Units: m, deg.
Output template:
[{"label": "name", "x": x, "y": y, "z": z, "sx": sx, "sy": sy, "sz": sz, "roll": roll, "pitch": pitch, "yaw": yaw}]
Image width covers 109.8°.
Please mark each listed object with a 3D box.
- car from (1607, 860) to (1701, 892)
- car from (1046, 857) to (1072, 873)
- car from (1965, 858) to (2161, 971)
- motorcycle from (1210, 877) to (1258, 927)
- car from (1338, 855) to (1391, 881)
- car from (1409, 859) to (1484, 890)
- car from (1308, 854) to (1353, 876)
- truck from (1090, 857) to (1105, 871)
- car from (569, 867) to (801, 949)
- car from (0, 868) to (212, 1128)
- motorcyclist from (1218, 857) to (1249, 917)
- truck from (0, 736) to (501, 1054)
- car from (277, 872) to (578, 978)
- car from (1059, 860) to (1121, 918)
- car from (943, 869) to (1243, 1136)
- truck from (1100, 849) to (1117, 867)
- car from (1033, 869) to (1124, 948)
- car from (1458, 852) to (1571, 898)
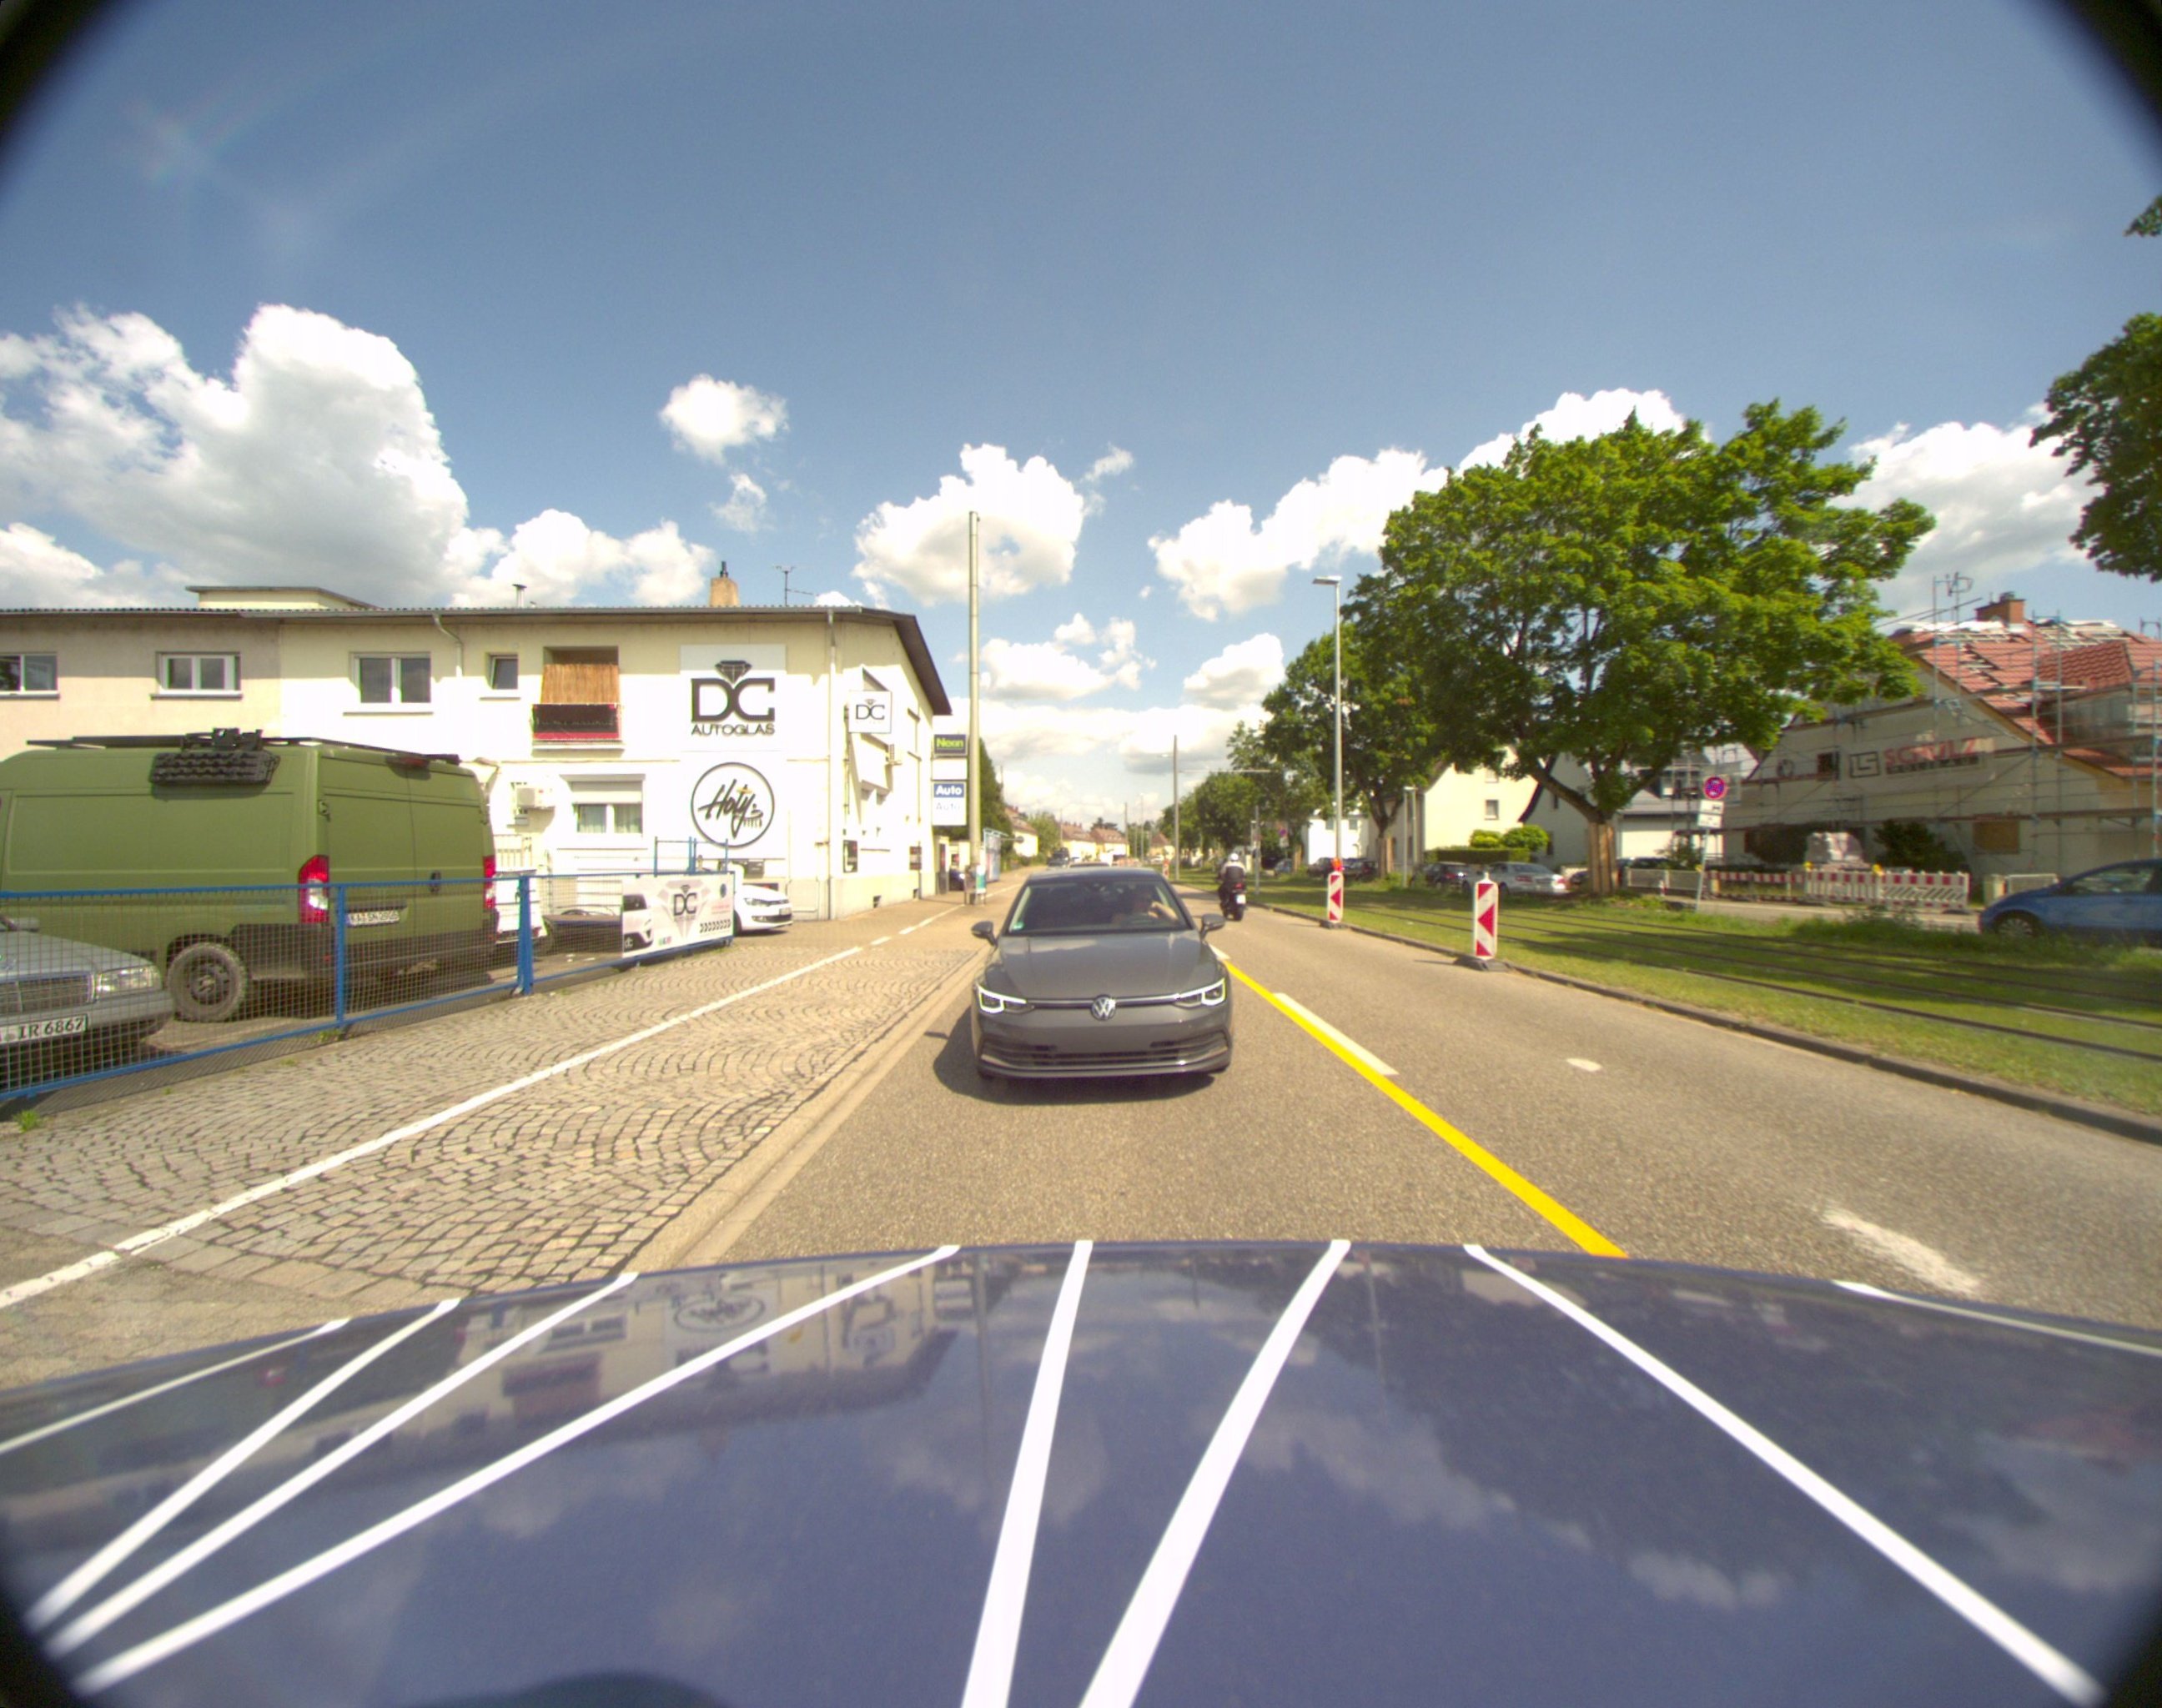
[{"label": "car", "x": 25.955, "y": 1.003, "z": 34.519, "sx": 3.238, "sy": 1.374, "sz": 1.490, "roll": -2, "pitch": 1, "yaw": 30}, {"label": "car", "x": -2.032, "y": 0.993, "z": 71.085, "sx": 1.823, "sy": 1.412, "sz": 4.002, "roll": 0, "pitch": 0, "yaw": 6}, {"label": "car", "x": 16.246, "y": 0.882, "z": 11.277, "sx": 1.672, "sy": 1.504, "sz": 3.930, "roll": -2, "pitch": 1, "yaw": 0}, {"label": "motorcycle", "x": 3.677, "y": 1.127, "z": 18.479, "sx": 0.707, "sy": 1.036, "sz": 2.465, "roll": 0, "pitch": 1, "yaw": 1}, {"label": "car", "x": 16.527, "y": 0.785, "z": 44.497, "sx": 1.636, "sy": 1.294, "sz": 3.999, "roll": -2, "pitch": 1, "yaw": 1}, {"label": "car", "x": 16.605, "y": 0.891, "z": 34.736, "sx": 1.625, "sy": 1.235, "sz": 3.786, "roll": -2, "pitch": 1, "yaw": 1}, {"label": "car", "x": 16.524, "y": 0.718, "z": 50.496, "sx": 1.636, "sy": 1.294, "sz": 3.999, "roll": -2, "pitch": 1, "yaw": 1}, {"label": "truck", "x": 3.828, "y": 2.250, "z": 175.013, "sx": 2.631, "sy": 2.871, "sz": 7.926, "roll": -2, "pitch": 1, "yaw": 5}, {"label": "car", "x": -7.643, "y": 1.030, "z": 14.859, "sx": 3.725, "sy": 1.350, "sz": 1.518, "roll": -2, "pitch": 1, "yaw": 4}, {"label": "car", "x": -8.496, "y": 0.941, "z": 4.829, "sx": 4.257, "sy": 1.499, "sz": 1.828, "roll": -2, "pitch": 1, "yaw": 8}, {"label": "motorcyclist", "x": 3.681, "y": 0.783, "z": 18.391, "sx": 0.651, "sy": 1.434, "sz": 0.588, "roll": 0, "pitch": 1, "yaw": 1}, {"label": "truck", "x": -8.771, "y": 0.384, "z": 7.623, "sx": 4.181, "sy": 2.645, "sz": 2.108, "roll": -2, "pitch": 1, "yaw": 2}, {"label": "car", "x": -8.886, "y": 0.936, "z": 10.478, "sx": 3.033, "sy": 1.267, "sz": 1.332, "roll": 1, "pitch": 1, "yaw": 2}, {"label": "car", "x": 0.252, "y": 0.942, "z": 22.059, "sx": 1.594, "sy": 1.418, "sz": 3.707, "roll": -2, "pitch": 1, "yaw": 1}, {"label": "car", "x": 0.120, "y": 0.935, "z": 6.713, "sx": 1.743, "sy": 1.410, "sz": 4.381, "roll": -2, "pitch": 1, "yaw": 1}, {"label": "truck", "x": 4.671, "y": 0.592, "z": 130.054, "sx": 2.665, "sy": 2.786, "sz": 7.539, "roll": -2, "pitch": 1, "yaw": 3}, {"label": "car", "x": 0.000, "y": 0.991, "z": 15.078, "sx": 1.555, "sy": 1.216, "sz": 3.729, "roll": -2, "pitch": 1, "yaw": 1}, {"label": "car", "x": 16.373, "y": 0.741, "z": 28.978, "sx": 1.707, "sy": 1.504, "sz": 4.524, "roll": -2, "pitch": 1, "yaw": 0}]
